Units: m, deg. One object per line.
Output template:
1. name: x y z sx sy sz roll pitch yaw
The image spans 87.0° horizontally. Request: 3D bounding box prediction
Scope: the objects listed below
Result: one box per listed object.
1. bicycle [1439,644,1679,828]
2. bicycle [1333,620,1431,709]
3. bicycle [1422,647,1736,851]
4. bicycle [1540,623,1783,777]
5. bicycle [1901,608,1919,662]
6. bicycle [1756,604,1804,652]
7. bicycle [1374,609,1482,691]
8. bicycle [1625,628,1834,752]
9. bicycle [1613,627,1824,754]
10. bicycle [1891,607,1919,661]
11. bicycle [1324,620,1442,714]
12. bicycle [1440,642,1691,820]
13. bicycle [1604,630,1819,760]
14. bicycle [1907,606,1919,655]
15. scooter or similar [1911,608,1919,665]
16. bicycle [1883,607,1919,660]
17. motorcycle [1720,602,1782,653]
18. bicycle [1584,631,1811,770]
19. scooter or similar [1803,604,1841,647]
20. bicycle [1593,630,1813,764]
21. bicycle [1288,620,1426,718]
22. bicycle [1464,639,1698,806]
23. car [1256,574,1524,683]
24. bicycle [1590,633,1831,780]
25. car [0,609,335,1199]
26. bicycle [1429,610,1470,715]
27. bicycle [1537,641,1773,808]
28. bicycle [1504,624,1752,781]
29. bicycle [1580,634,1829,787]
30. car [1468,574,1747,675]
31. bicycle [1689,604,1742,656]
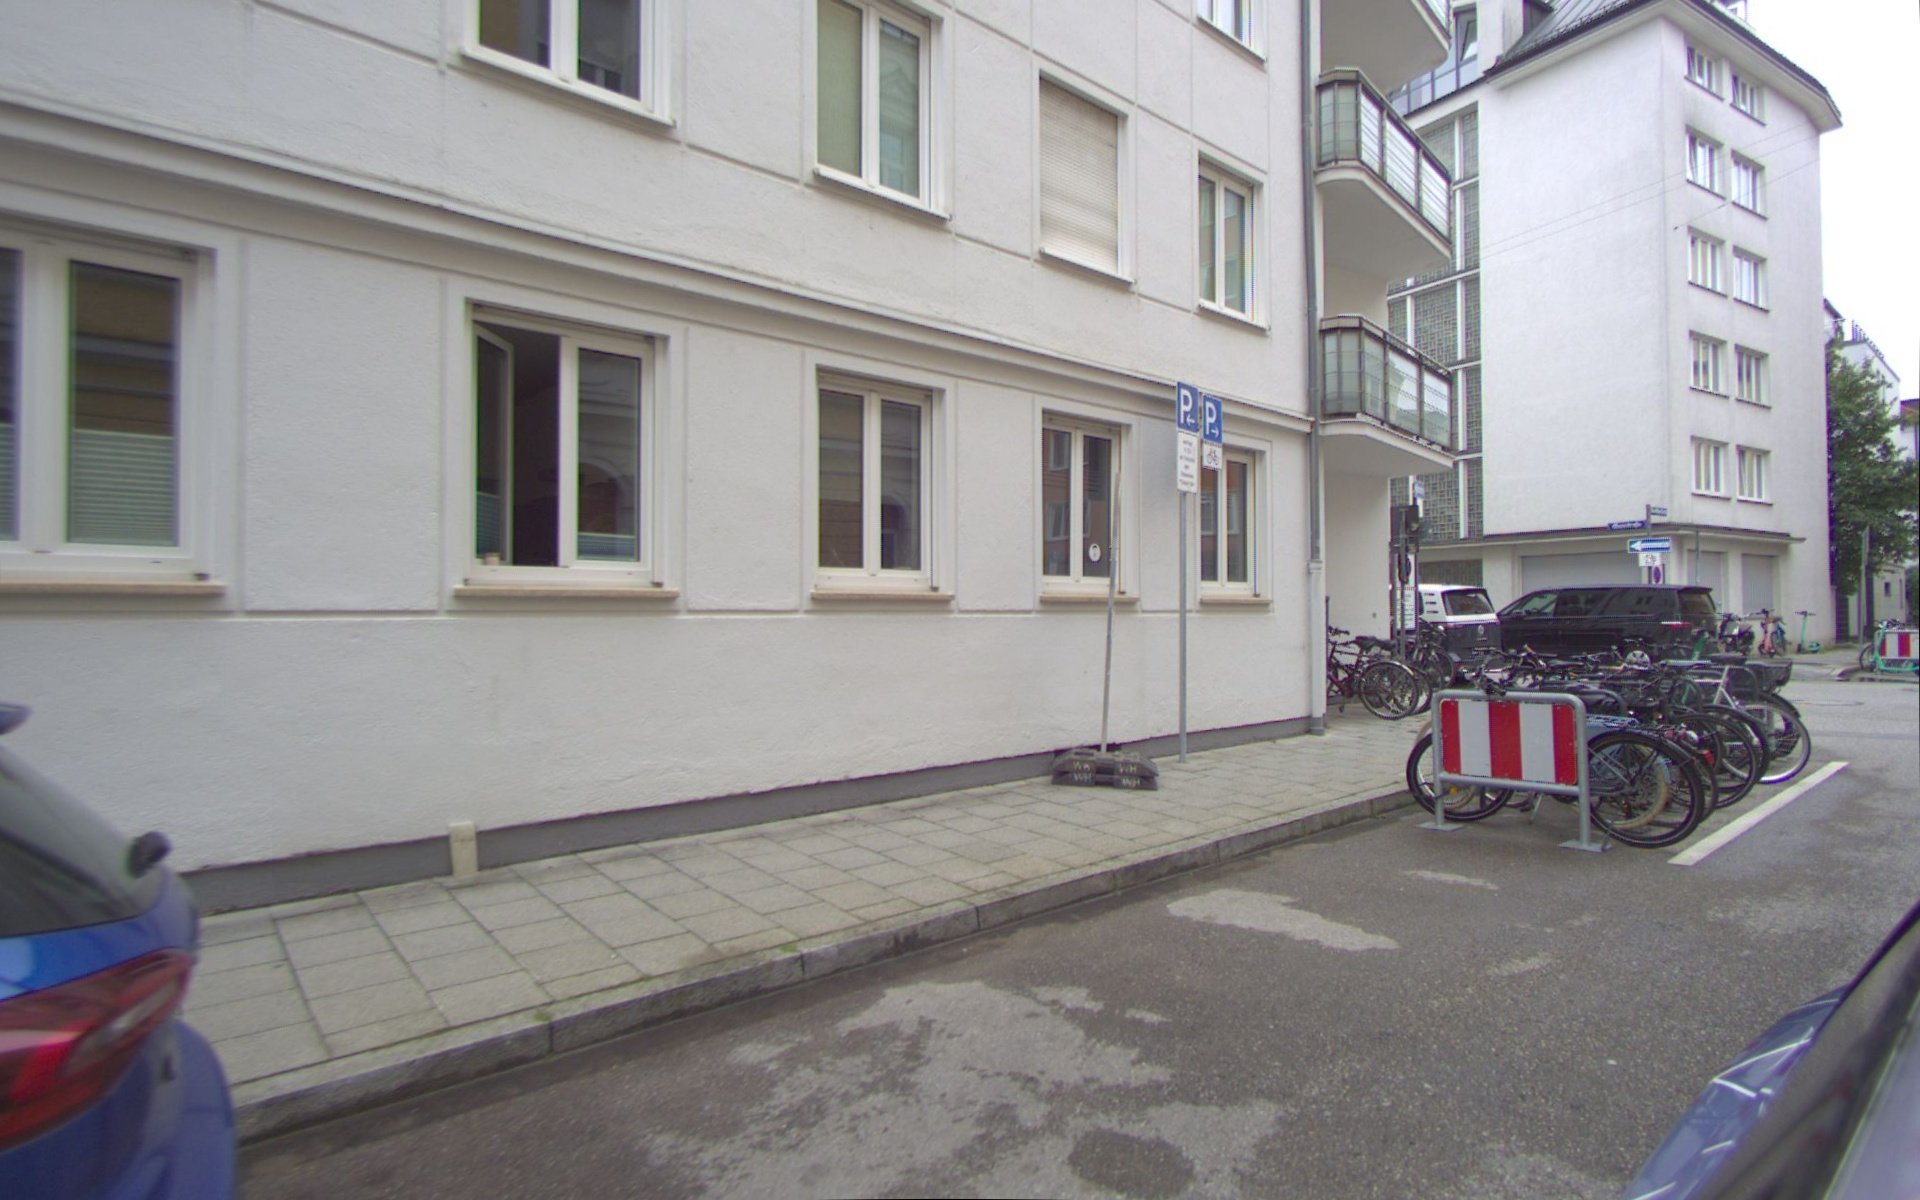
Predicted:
1. bicycle: 4.134 0.889 7.088 0.323 1.056 1.442 0 1 -32
2. bicycle: 5.456 0.813 13.099 1.119 1.056 0.395 2 1 31
3. bicycle: 3.950 0.893 6.596 0.353 1.056 1.706 0 1 -40
4. bicycle: 5.947 0.796 8.665 0.372 1.176 1.664 1 -1 -41
5. bicycle: 22.326 0.793 22.783 0.519 1.229 1.608 0 -1 -38
6. bicycle: 21.920 0.734 27.047 1.578 1.229 0.529 0 -1 -33
7. bicycle: 7.693 0.796 16.694 0.463 1.229 1.611 0 1 -32
8. bicycle: 8.052 0.902 10.661 0.411 1.176 1.697 0 -1 -41
9. bicycle: 7.746 0.885 10.406 0.308 1.176 1.697 1 -1 -41
10. bicycle: 22.597 0.790 23.332 0.519 1.229 1.608 0 -1 -38
11. bicycle: 5.206 0.801 12.470 1.285 1.056 0.395 2 1 32
12. bicycle: 4.346 0.888 7.388 0.316 1.056 1.594 0 1 -32
13. bicycle: 7.508 0.907 10.185 0.308 1.176 1.697 1 -1 -41
14. bicycle: 24.789 0.772 25.274 0.519 1.229 1.608 0 -1 -38
15. scooter or similar: 21.376 0.800 21.736 0.338 1.229 1.340 0 -1 -38
16. bicycle: 22.881 0.786 23.853 0.519 1.229 1.608 0 -1 -38
17. motorcycle: 20.246 0.684 25.884 1.898 1.248 0.661 0 -1 -33
18. bicycle: 6.973 0.905 9.652 0.372 1.176 1.697 1 -1 -41
19. scooter or similar: 24.451 0.706 28.704 1.465 1.181 0.407 0 -1 -33
20. bicycle: 7.242 0.902 9.940 0.372 1.176 1.697 1 -1 -41
21. bicycle: 4.739 0.801 12.116 1.489 1.056 0.395 2 1 32
22. bicycle: 4.715 0.883 7.790 0.353 1.056 1.523 0 1 -32
23. car: 8.317 0.504 20.023 1.896 1.896 4.623 0 0 -33
24. bicycle: 6.693 0.901 9.112 0.372 1.176 1.697 1 -1 -41
25. car: -3.078 0.776 0.709 4.305 1.457 1.797 0 -2 -40
26. bicycle: 6.309 0.766 13.073 0.395 1.219 1.494 1 1 24
27. bicycle: 5.227 0.891 7.697 0.353 1.056 1.444 0 1 -32
28. bicycle: 5.550 0.803 8.508 0.372 1.176 1.697 1 -1 -41
29. bicycle: 6.425 0.903 8.823 0.372 1.176 1.697 1 -1 -41
30. car: 13.704 0.480 21.735 1.896 1.915 4.685 1 -1 -32
31. bicycle: 18.640 0.722 24.951 1.578 1.229 0.529 0 -1 -33
